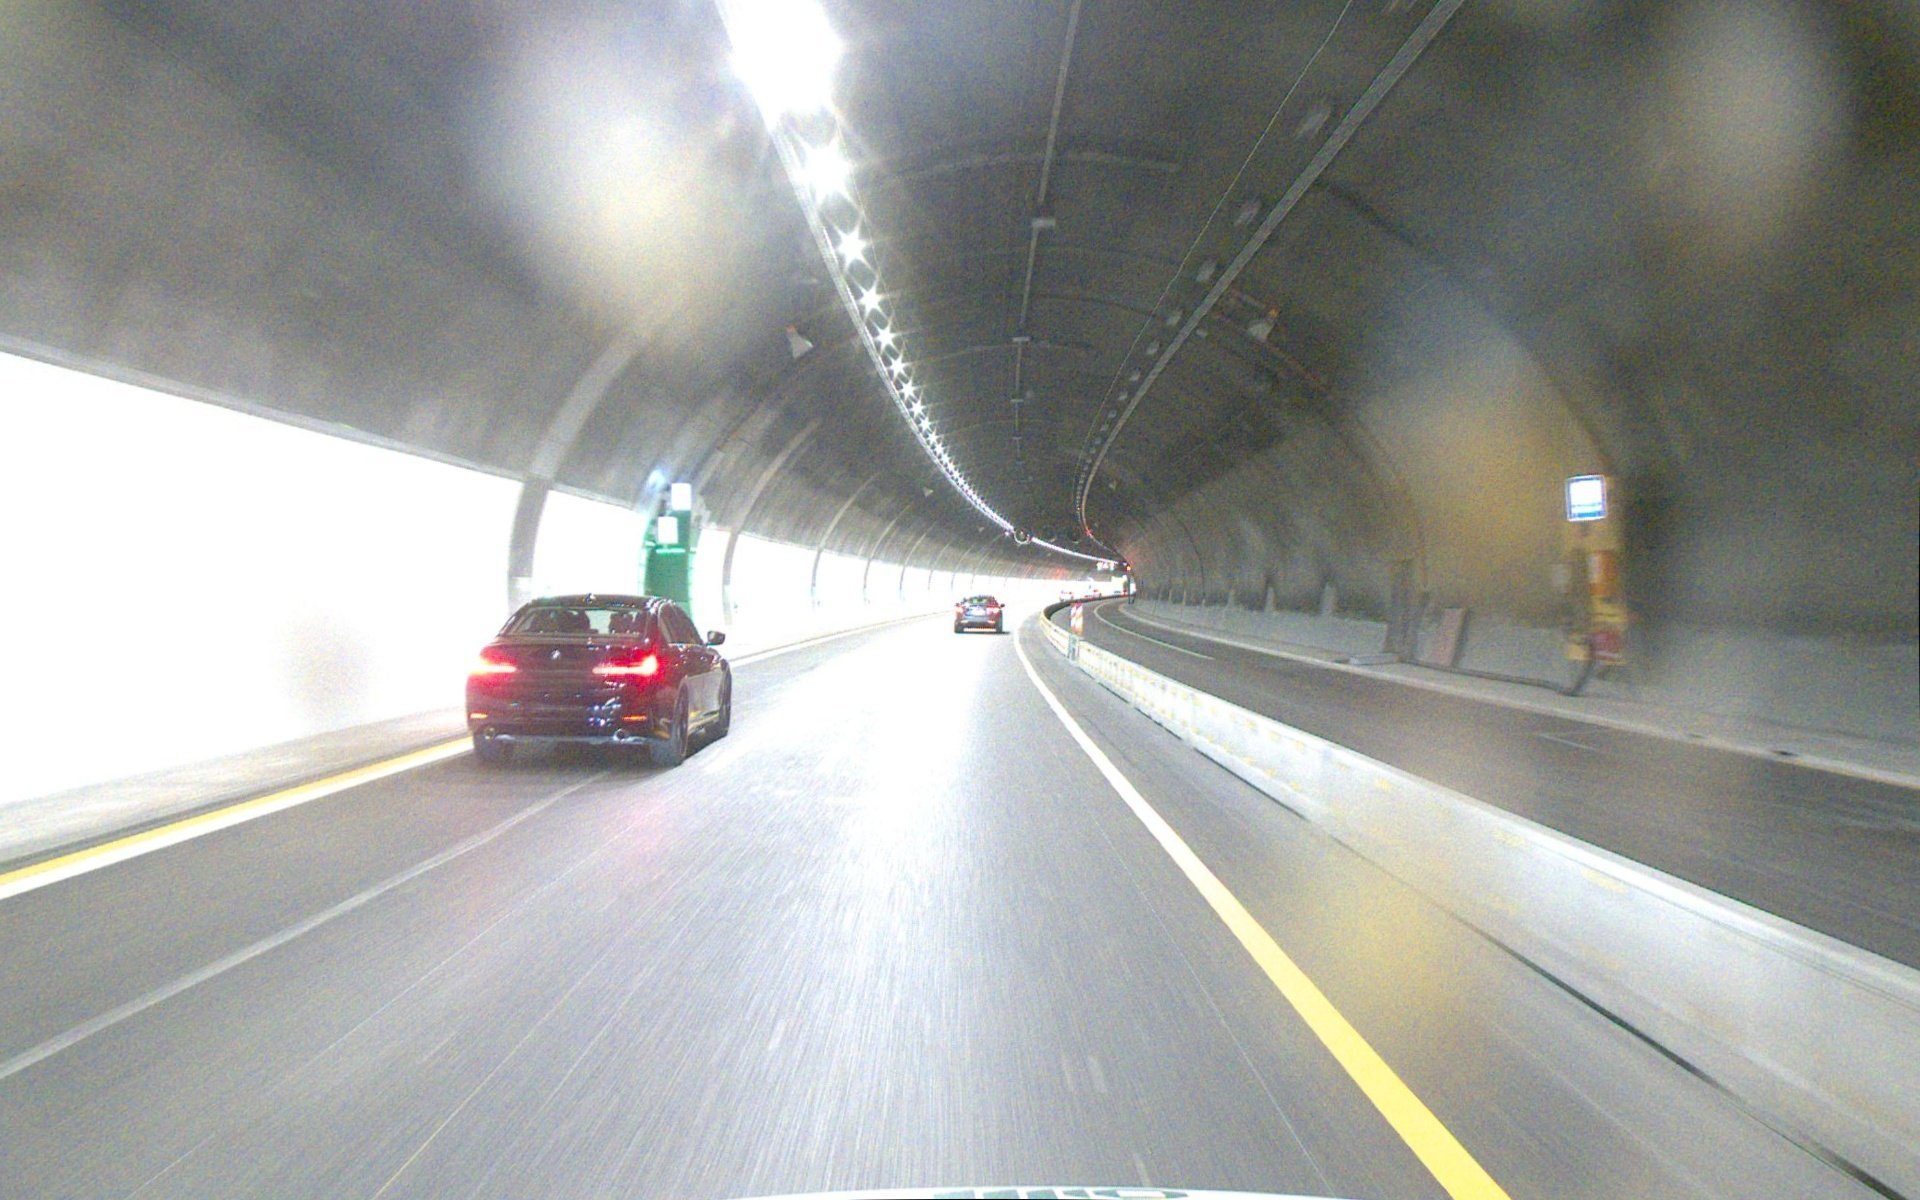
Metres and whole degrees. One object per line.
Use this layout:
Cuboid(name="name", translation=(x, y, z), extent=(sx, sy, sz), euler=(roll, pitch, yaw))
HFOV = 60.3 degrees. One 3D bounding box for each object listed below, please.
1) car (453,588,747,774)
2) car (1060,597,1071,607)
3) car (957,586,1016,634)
Cuboid(name="car", translation=(-3.214, 0.647, 15.781), extent=(1.742, 1.463, 4.882), euler=(1, 0, 0))
Cuboid(name="car", translation=(14.379, 0.282, 225.336), extent=(1.561, 1.356, 3.752), euler=(1, 0, 4))
Cuboid(name="car", translation=(1.063, 0.363, 63.452), extent=(2.096, 1.735, 4.002), euler=(1, 0, 3))
